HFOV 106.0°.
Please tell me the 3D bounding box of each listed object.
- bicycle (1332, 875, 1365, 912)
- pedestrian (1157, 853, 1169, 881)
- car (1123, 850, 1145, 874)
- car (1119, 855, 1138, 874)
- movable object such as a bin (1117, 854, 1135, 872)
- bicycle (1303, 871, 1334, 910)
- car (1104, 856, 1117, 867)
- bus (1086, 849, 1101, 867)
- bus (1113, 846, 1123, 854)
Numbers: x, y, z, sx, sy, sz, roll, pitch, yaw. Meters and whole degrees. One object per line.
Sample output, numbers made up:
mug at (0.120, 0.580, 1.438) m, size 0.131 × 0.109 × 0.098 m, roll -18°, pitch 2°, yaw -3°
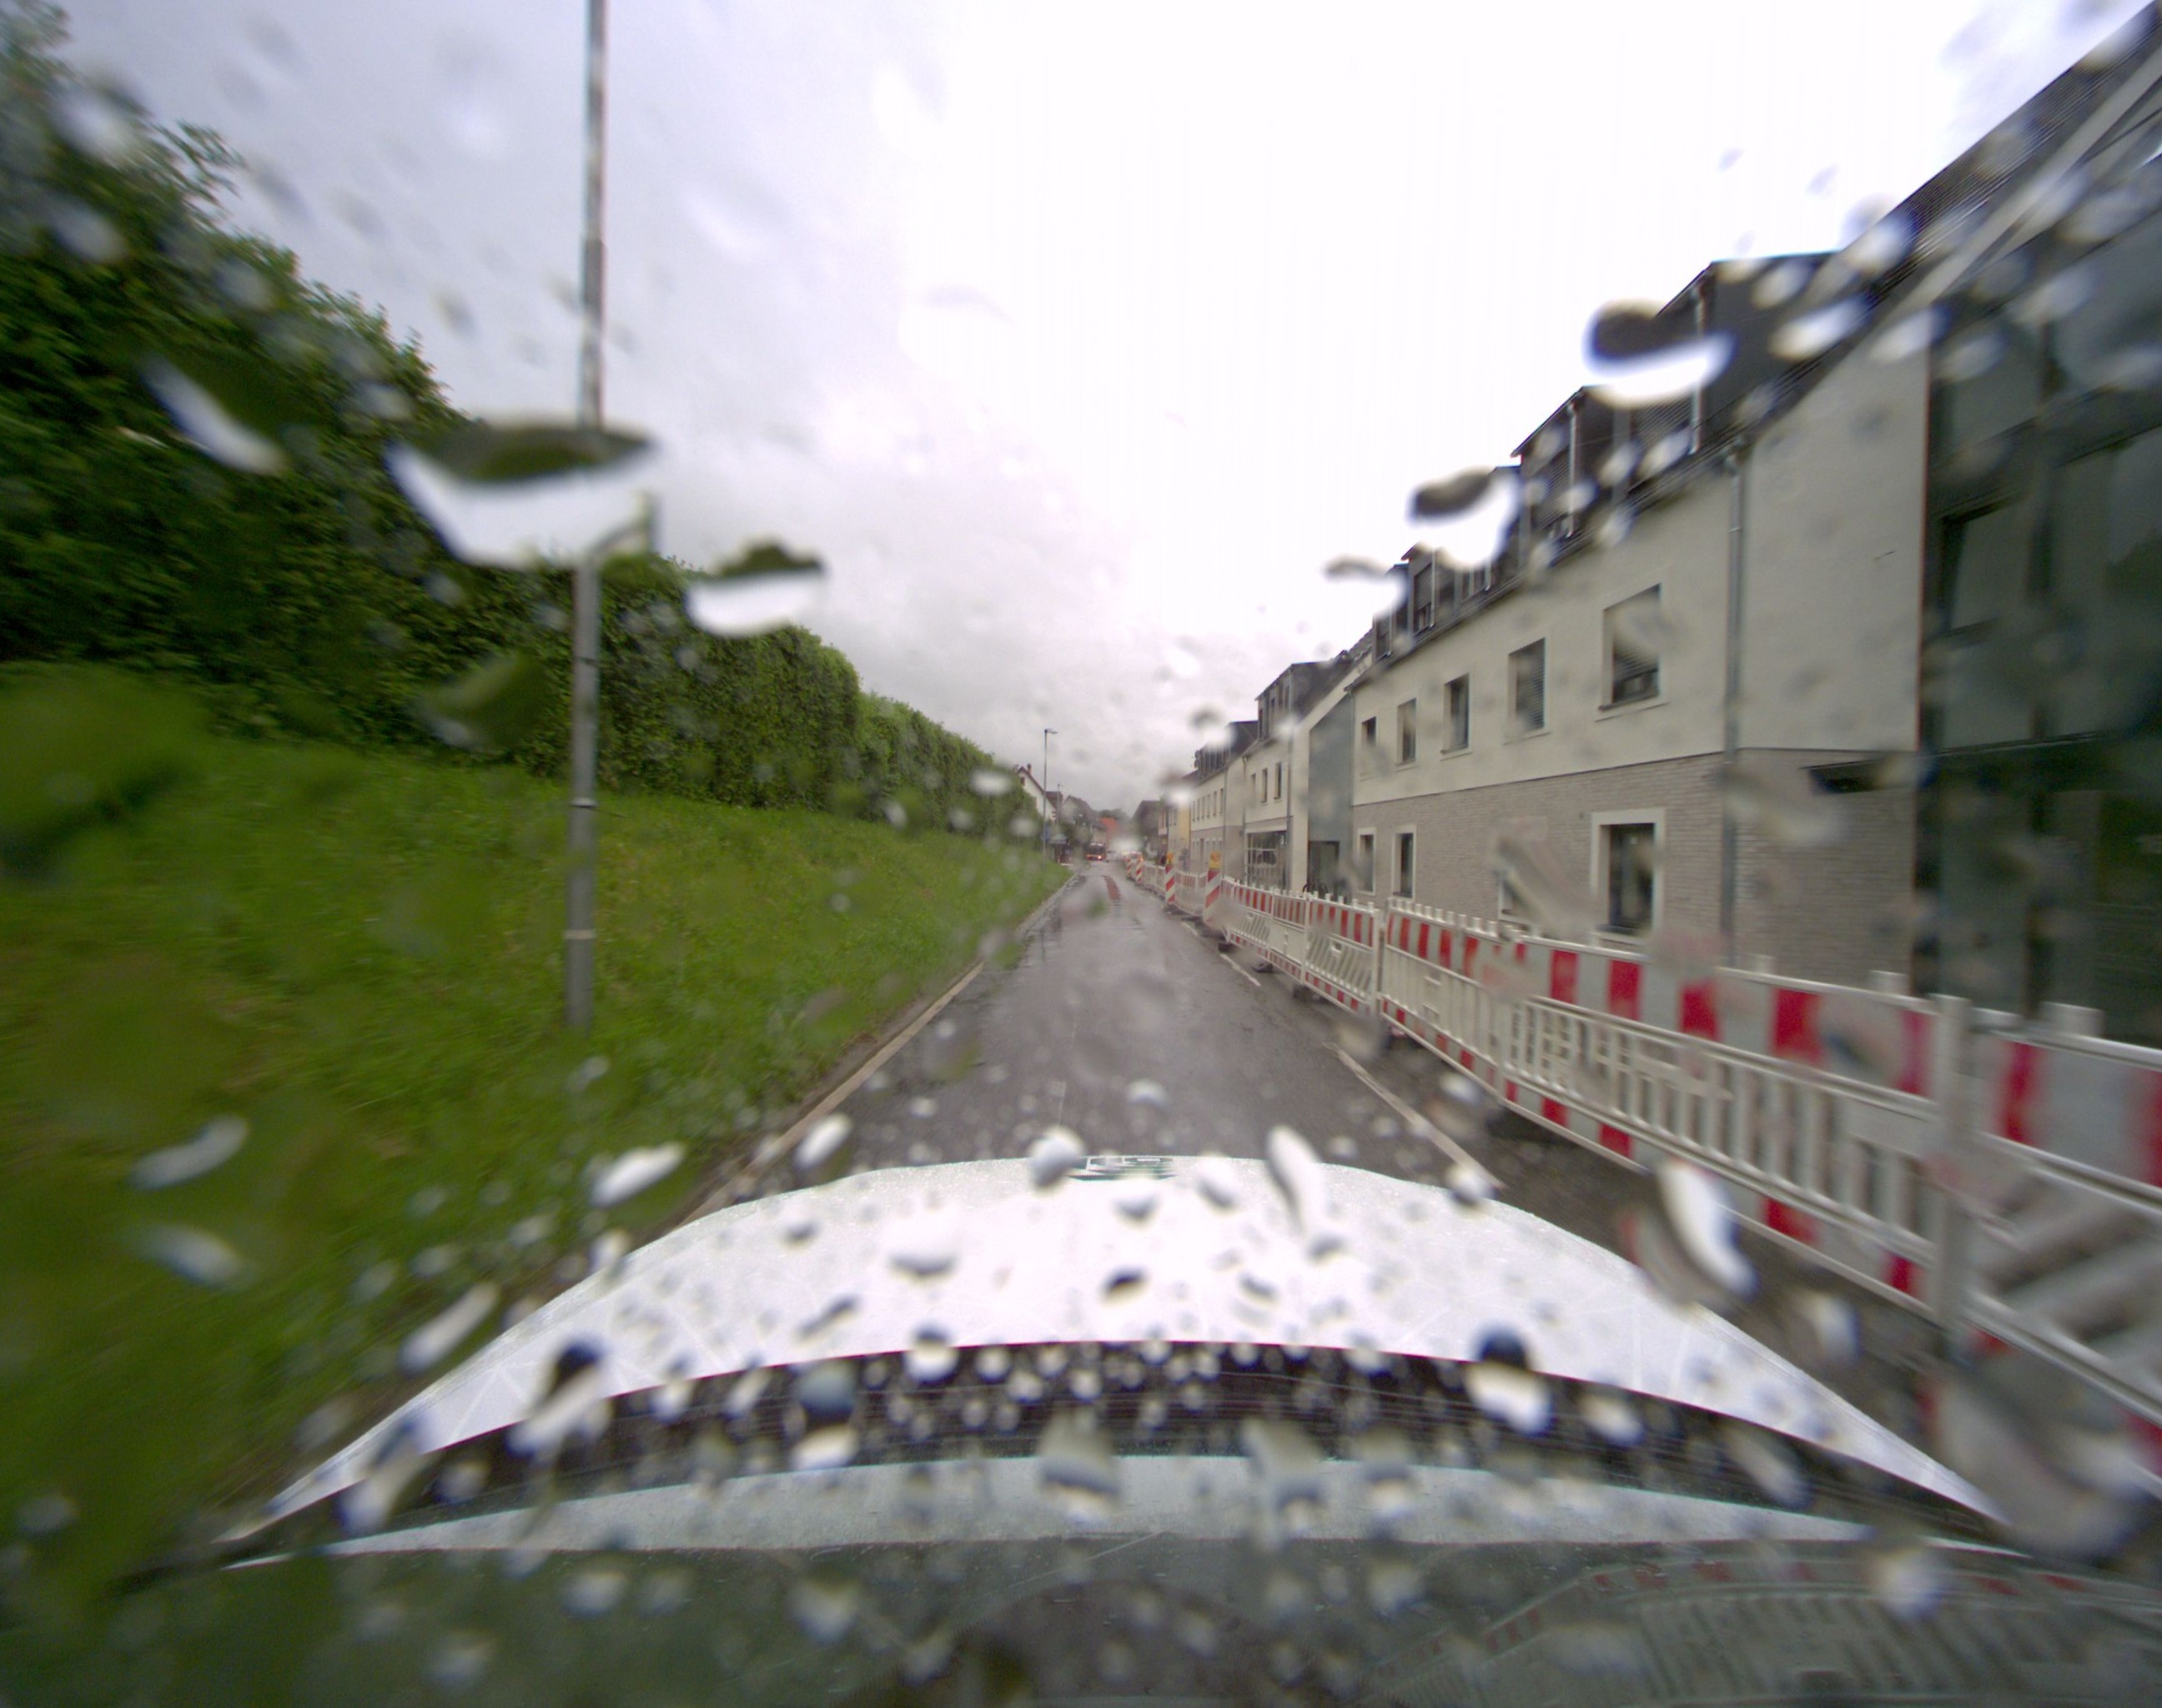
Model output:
bicycle at (8.582, 1.247, 26.170) m, size 0.516 × 1.103 × 1.790 m, roll 2°, pitch 0°, yaw 3°
pedestrian at (5.402, 0.846, 53.580) m, size 0.663 × 1.755 × 0.812 m, roll 2°, pitch -1°, yaw 3°
car at (5.386, 0.794, 83.591) m, size 1.986 × 2.375 × 4.096 m, roll 2°, pitch 0°, yaw 1°
car at (5.192, 1.143, 89.354) m, size 1.986 × 2.014 × 4.001 m, roll 2°, pitch 0°, yaw 2°
movable object such as a bin at (5.427, 1.097, 99.386) m, size 1.986 × 2.173 × 4.001 m, roll 2°, pitch 0°, yaw 1°
bicycle at (7.819, 1.184, 26.864) m, size 0.516 × 1.220 × 1.790 m, roll 2°, pitch 0°, yaw 3°
car at (4.430, 1.106, 122.186) m, size 1.811 × 1.642 × 4.096 m, roll 2°, pitch 0°, yaw 1°
bus at (2.311, 0.704, 148.274) m, size 2.232 × 3.103 × 7.035 m, roll 2°, pitch 0°, yaw 3°
bus at (7.060, -0.715, 157.052) m, size 1.786 × 1.409 × 4.004 m, roll 2°, pitch 0°, yaw 3°
